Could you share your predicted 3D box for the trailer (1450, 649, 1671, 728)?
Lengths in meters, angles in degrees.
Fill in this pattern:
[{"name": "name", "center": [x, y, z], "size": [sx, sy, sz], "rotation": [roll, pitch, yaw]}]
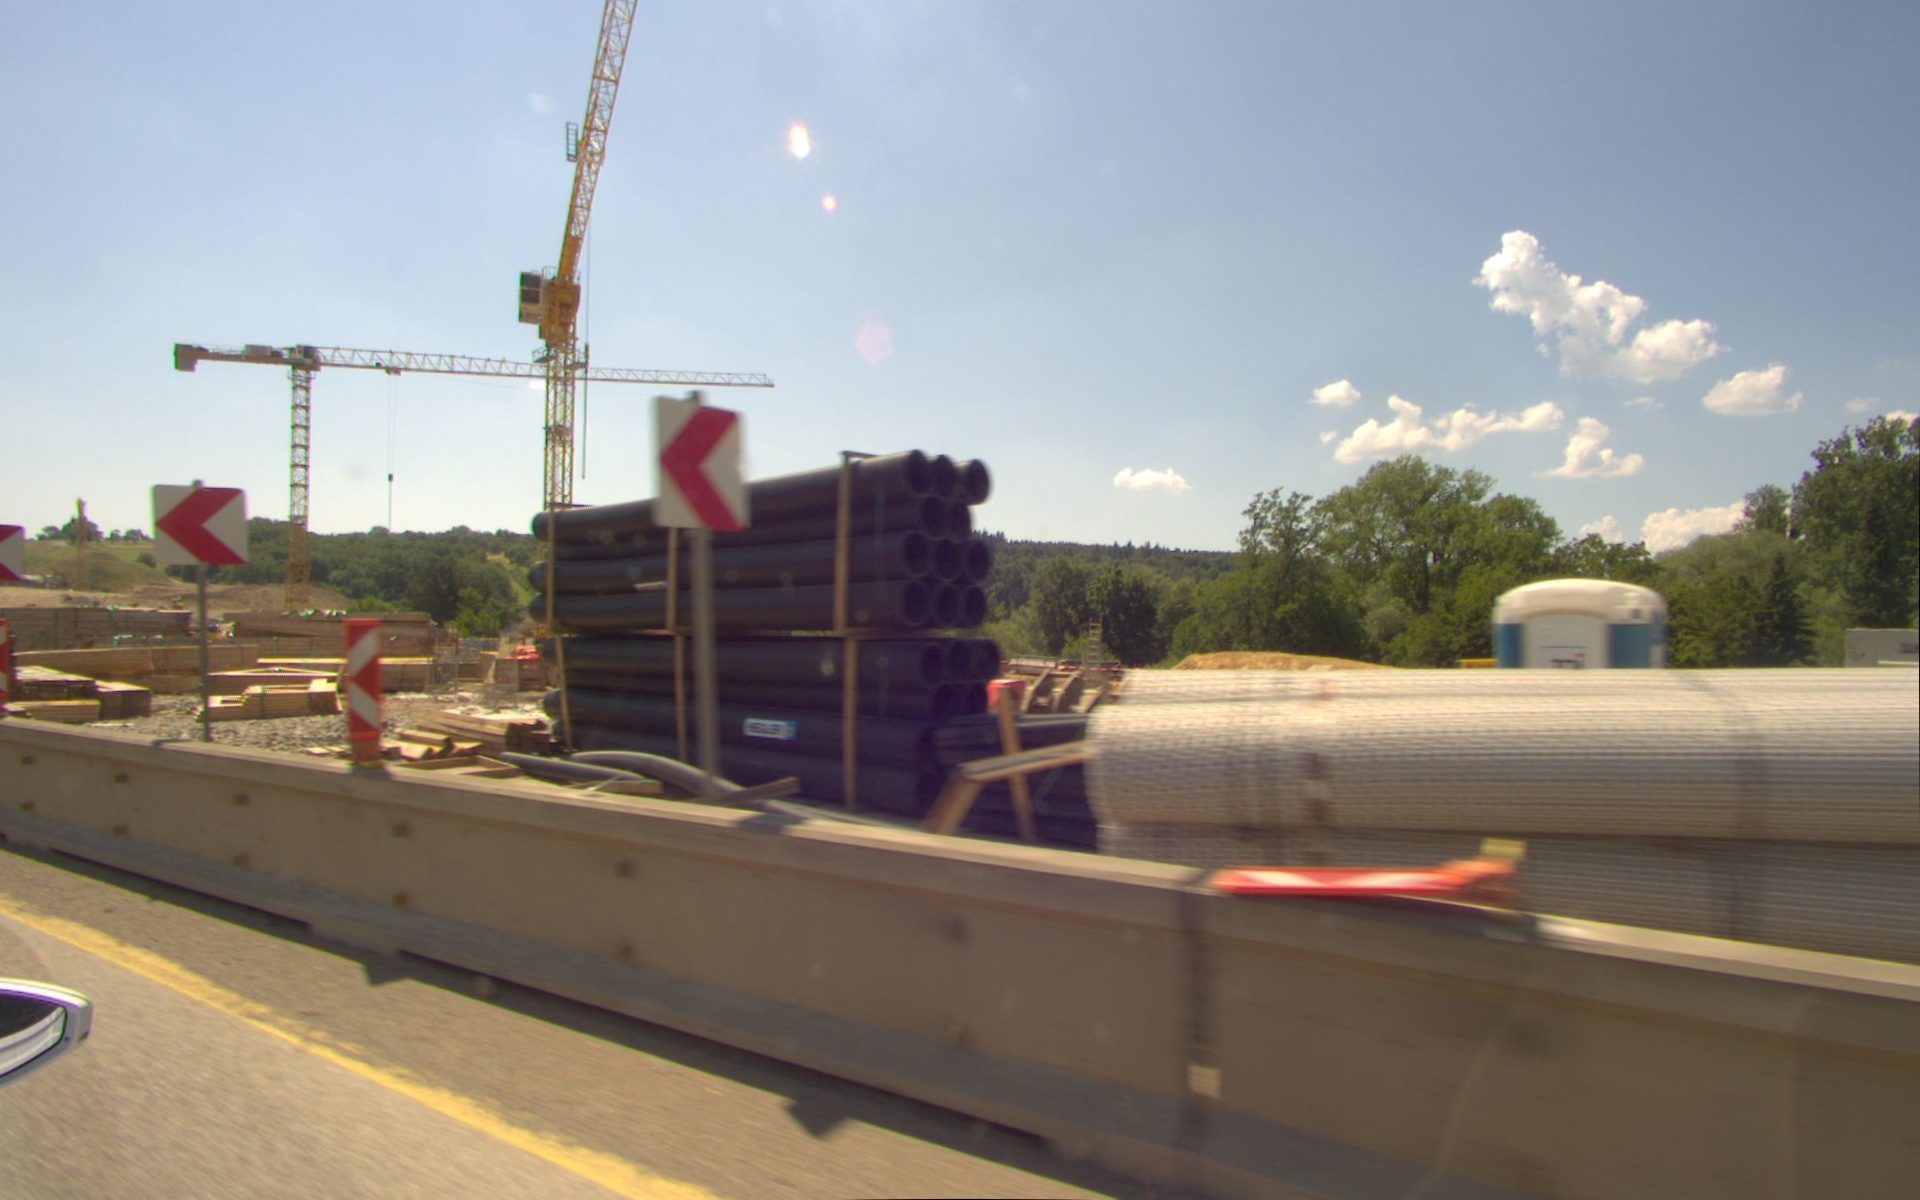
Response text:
[{"name": "trailer", "center": [12.595, 1.798, 21.115], "size": [3.783, 1.504, 1.616], "rotation": [-2, -3, 41]}]
